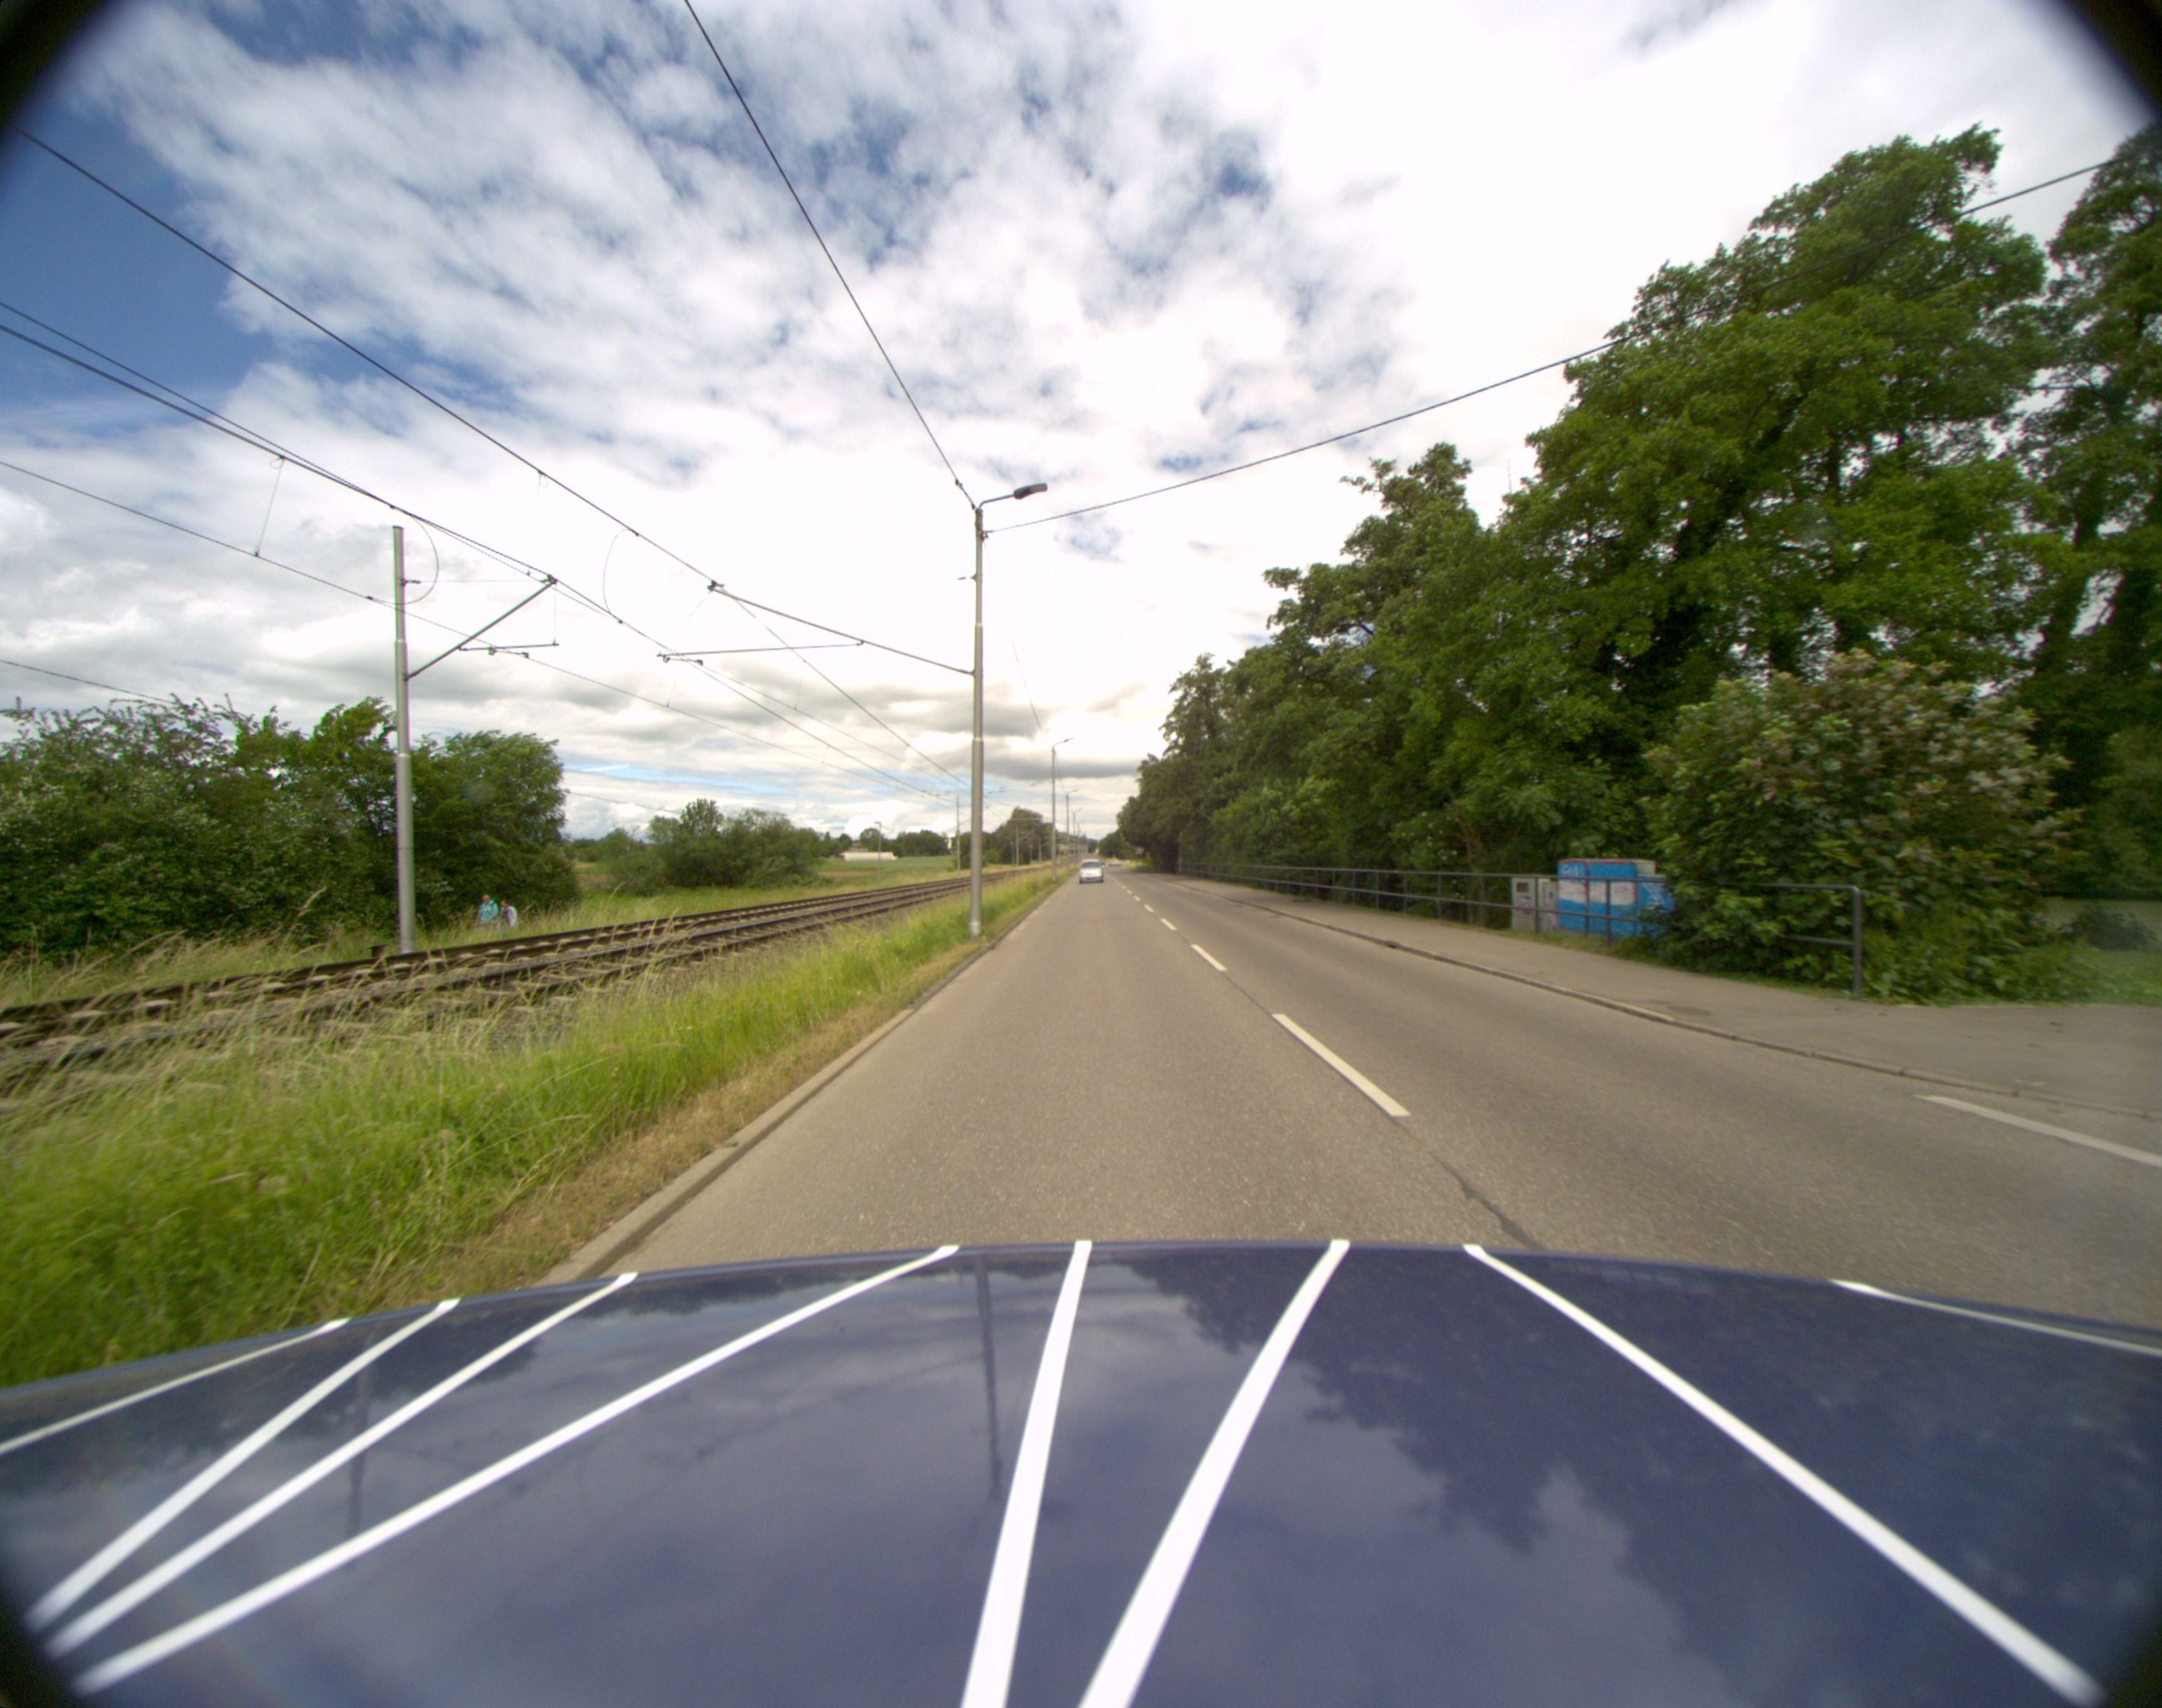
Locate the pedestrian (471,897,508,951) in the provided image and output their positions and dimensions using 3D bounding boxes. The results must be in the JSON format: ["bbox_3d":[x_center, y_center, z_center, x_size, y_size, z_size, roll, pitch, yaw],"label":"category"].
[{"bbox_3d":[-18.378,2.168,23.614,0.617,1.613,0.584,-2,0,8],"label":"pedestrian"}]

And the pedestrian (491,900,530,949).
[{"bbox_3d":[-17.597,2.159,23.449,0.599,1.422,0.667,-2,0,6],"label":"pedestrian"}]

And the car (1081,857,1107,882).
[{"bbox_3d":[0.892,1.030,51.842,1.643,1.510,3.869,-2,1,1],"label":"car"}]
